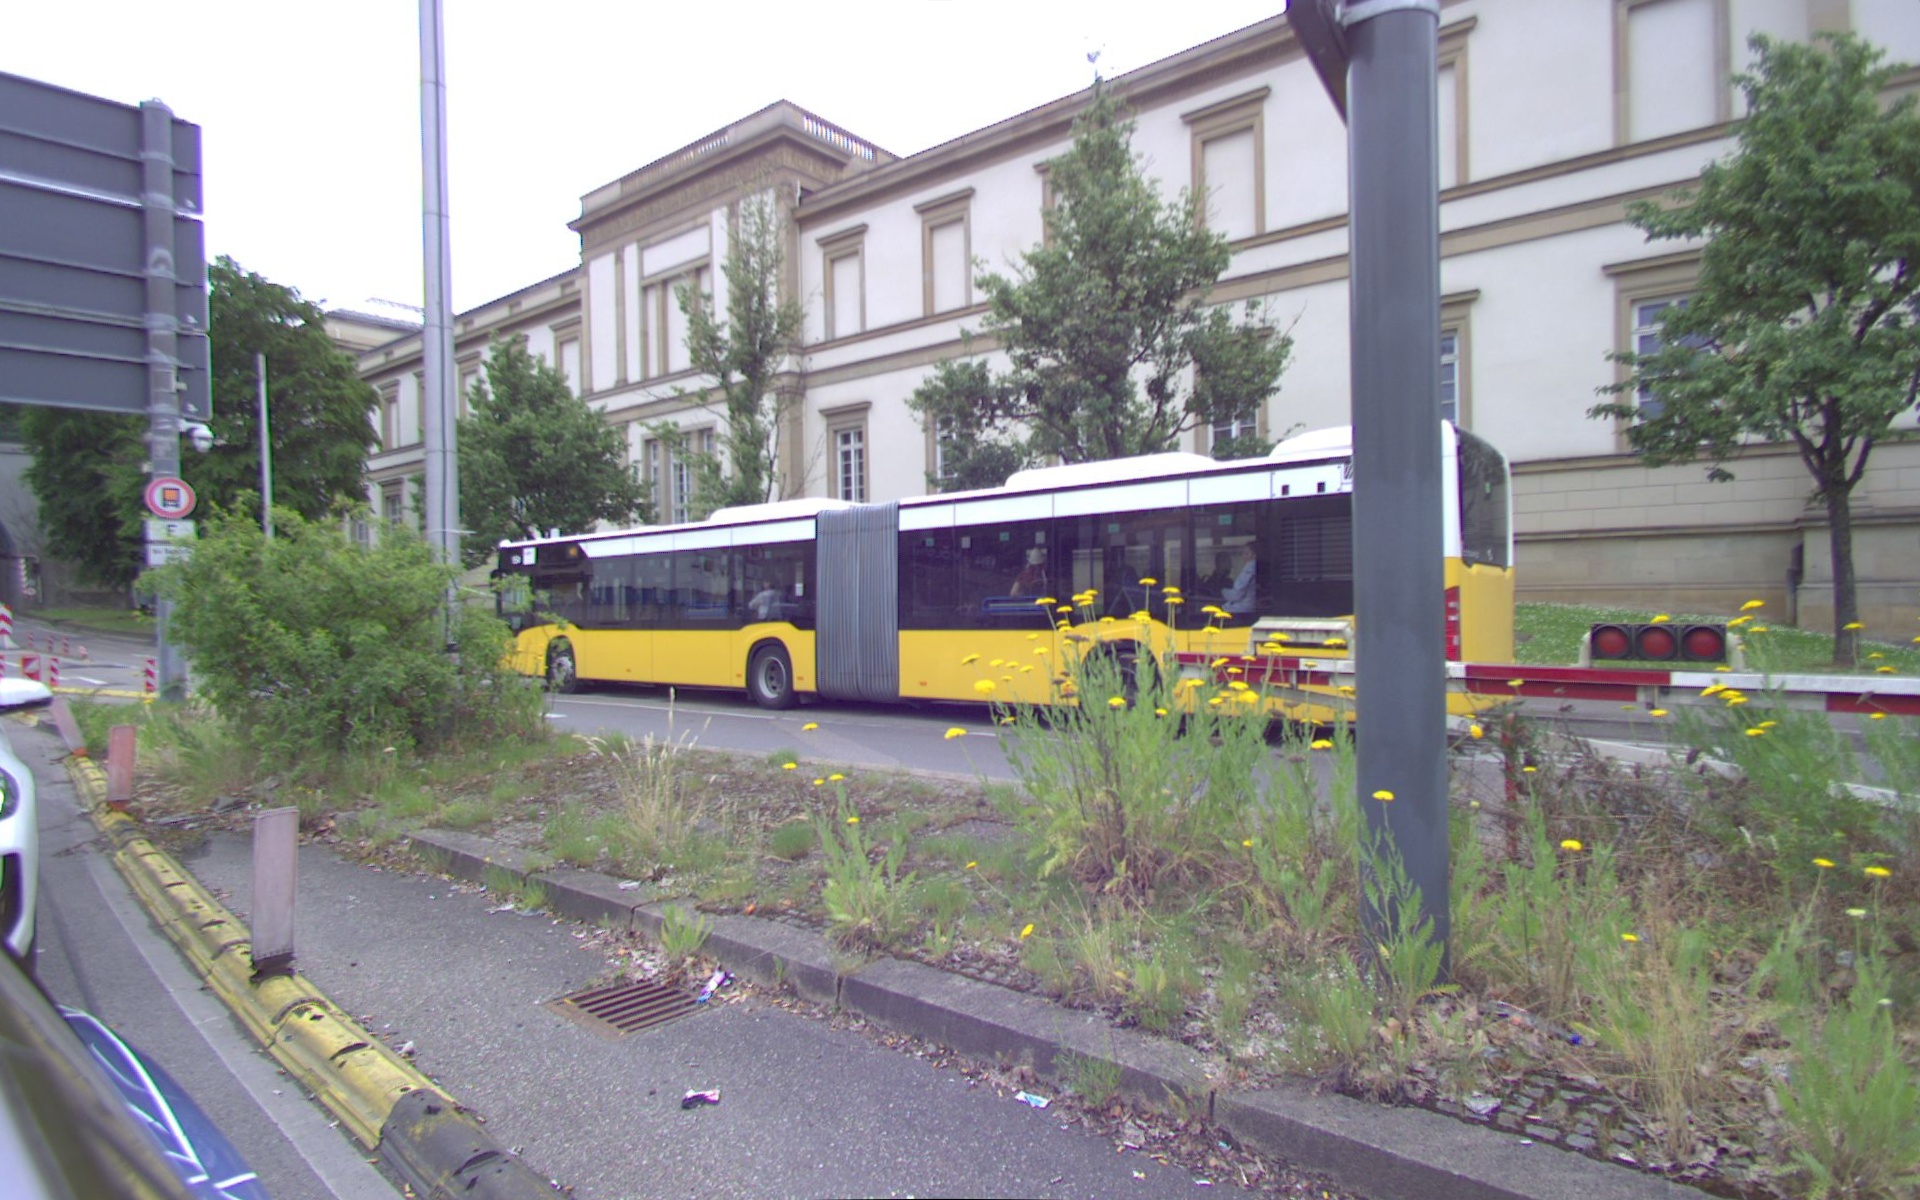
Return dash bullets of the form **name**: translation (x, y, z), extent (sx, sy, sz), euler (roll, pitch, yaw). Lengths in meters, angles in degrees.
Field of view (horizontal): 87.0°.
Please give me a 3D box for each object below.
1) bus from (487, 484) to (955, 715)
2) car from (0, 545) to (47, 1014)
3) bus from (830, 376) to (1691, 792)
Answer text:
- **bus**: translation (-4.721, 0.059, 17.980), extent (9.740, 3.137, 2.817), euler (-1, 0, 40)
- **car**: translation (-5.257, 0.668, 4.178), extent (3.881, 1.603, 1.824), euler (-2, 0, 42)
- **bus**: translation (2.669, -0.056, 11.664), extent (9.115, 3.137, 2.817), euler (-1, 0, 40)
